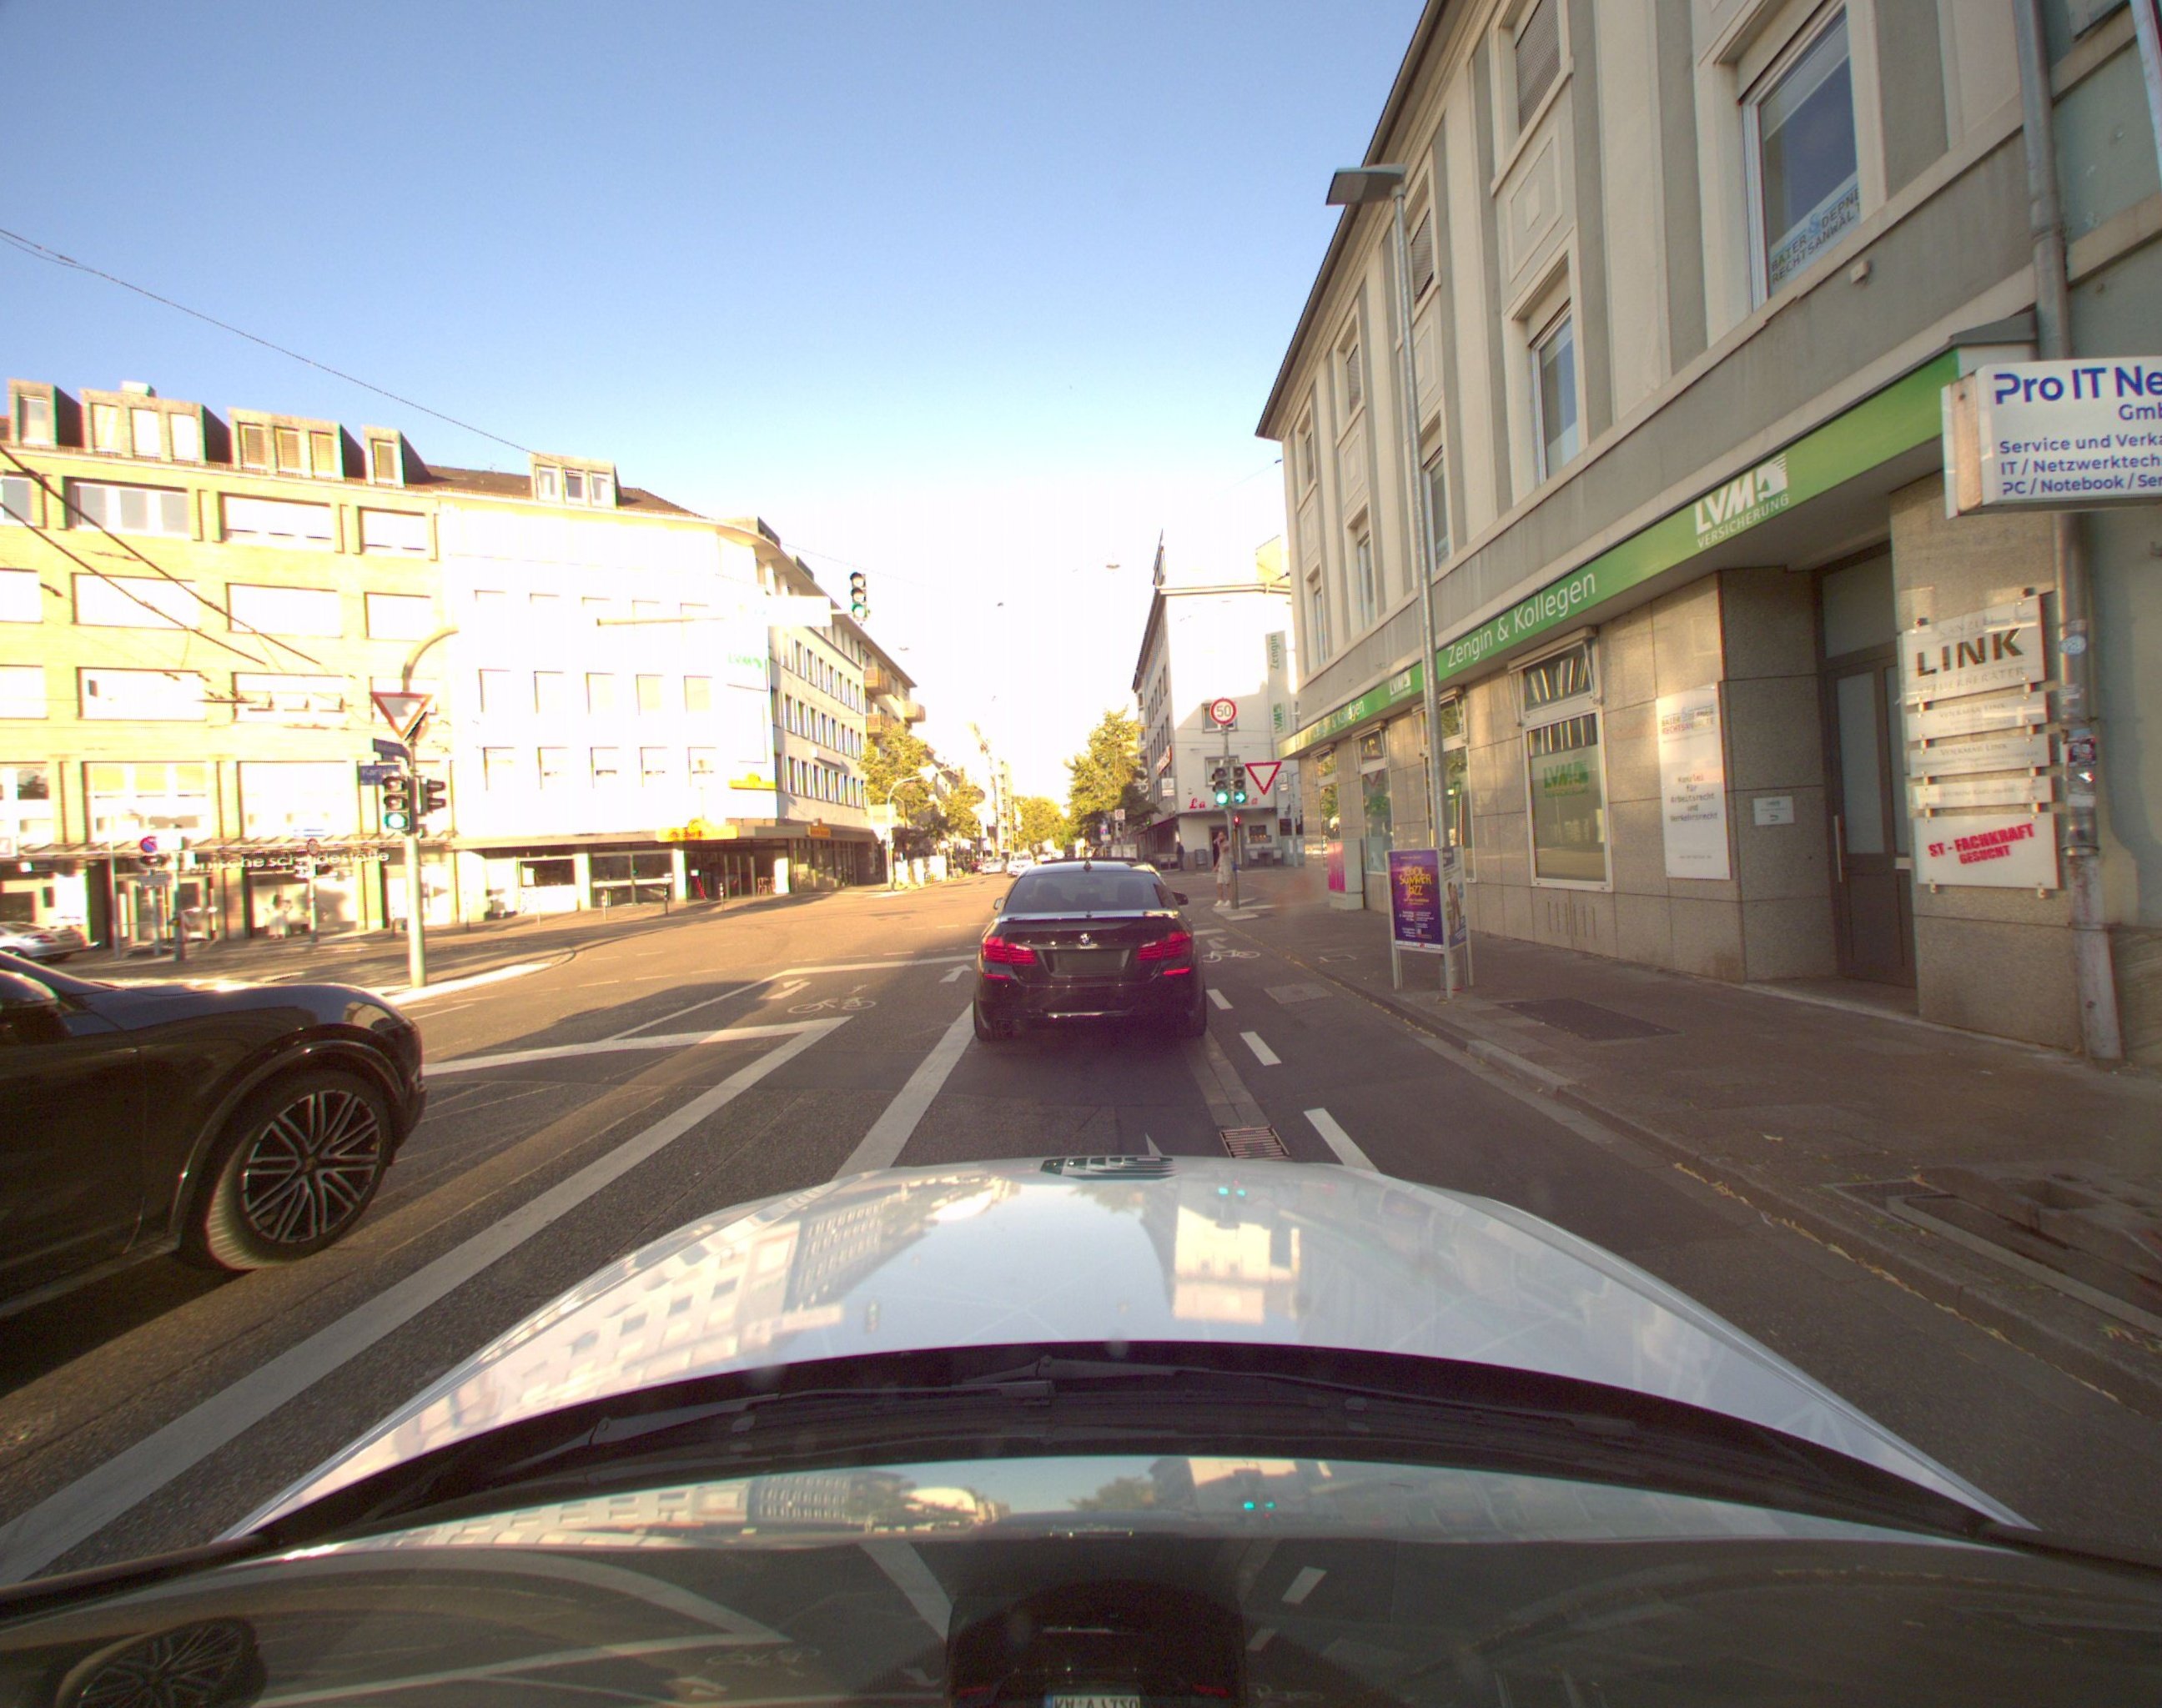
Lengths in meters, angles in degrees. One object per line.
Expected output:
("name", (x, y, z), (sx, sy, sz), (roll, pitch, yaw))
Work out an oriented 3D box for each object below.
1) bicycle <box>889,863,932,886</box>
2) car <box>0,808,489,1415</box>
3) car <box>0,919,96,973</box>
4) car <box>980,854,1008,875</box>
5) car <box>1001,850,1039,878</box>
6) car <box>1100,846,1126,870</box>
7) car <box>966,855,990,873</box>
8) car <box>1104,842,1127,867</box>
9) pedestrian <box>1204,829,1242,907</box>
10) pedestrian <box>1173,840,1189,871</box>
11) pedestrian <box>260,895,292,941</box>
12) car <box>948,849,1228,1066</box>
("bicycle", (-10.022, 1.195, 47.858), (2.363, 1.253, 0.639), (-2, -1, -5))
("car", (-3.959, 0.760, 1.812), (1.794, 1.697, 4.570), (-3, 0, 1))
("car", (-31.161, 2.728, 23.255), (3.393, 1.253, 1.625), (-4, 3, -24))
("car", (-7.146, 0.854, 67.101), (1.830, 1.556, 3.777), (-4, 0, -2))
("car", (-3.836, 0.611, 51.591), (2.102, 1.556, 4.010), (-4, 0, -2))
("car", (2.180, 0.237, 54.824), (1.633, 1.444, 3.609), (-4, 0, 3))
("car", (-9.965, 0.971, 79.279), (1.830, 1.556, 3.777), (-4, 0, -2))
("car", (2.616, 0.012, 61.492), (1.633, 1.873, 3.610), (0, 1, 3))
("pedestrian", (3.277, 0.318, 18.865), (0.650, 1.742, 0.694), (-3, 0, -1))
("pedestrian", (5.575, 0.079, 45.496), (0.709, 1.676, 0.703), (-3, 0, -1))
("pedestrian", (-27.806, 2.196, 28.130), (0.628, 1.471, 0.537), (-5, 4, -39))
("car", (0.105, 0.722, 7.965), (1.946, 1.498, 4.466), (-1, 0, 1))
